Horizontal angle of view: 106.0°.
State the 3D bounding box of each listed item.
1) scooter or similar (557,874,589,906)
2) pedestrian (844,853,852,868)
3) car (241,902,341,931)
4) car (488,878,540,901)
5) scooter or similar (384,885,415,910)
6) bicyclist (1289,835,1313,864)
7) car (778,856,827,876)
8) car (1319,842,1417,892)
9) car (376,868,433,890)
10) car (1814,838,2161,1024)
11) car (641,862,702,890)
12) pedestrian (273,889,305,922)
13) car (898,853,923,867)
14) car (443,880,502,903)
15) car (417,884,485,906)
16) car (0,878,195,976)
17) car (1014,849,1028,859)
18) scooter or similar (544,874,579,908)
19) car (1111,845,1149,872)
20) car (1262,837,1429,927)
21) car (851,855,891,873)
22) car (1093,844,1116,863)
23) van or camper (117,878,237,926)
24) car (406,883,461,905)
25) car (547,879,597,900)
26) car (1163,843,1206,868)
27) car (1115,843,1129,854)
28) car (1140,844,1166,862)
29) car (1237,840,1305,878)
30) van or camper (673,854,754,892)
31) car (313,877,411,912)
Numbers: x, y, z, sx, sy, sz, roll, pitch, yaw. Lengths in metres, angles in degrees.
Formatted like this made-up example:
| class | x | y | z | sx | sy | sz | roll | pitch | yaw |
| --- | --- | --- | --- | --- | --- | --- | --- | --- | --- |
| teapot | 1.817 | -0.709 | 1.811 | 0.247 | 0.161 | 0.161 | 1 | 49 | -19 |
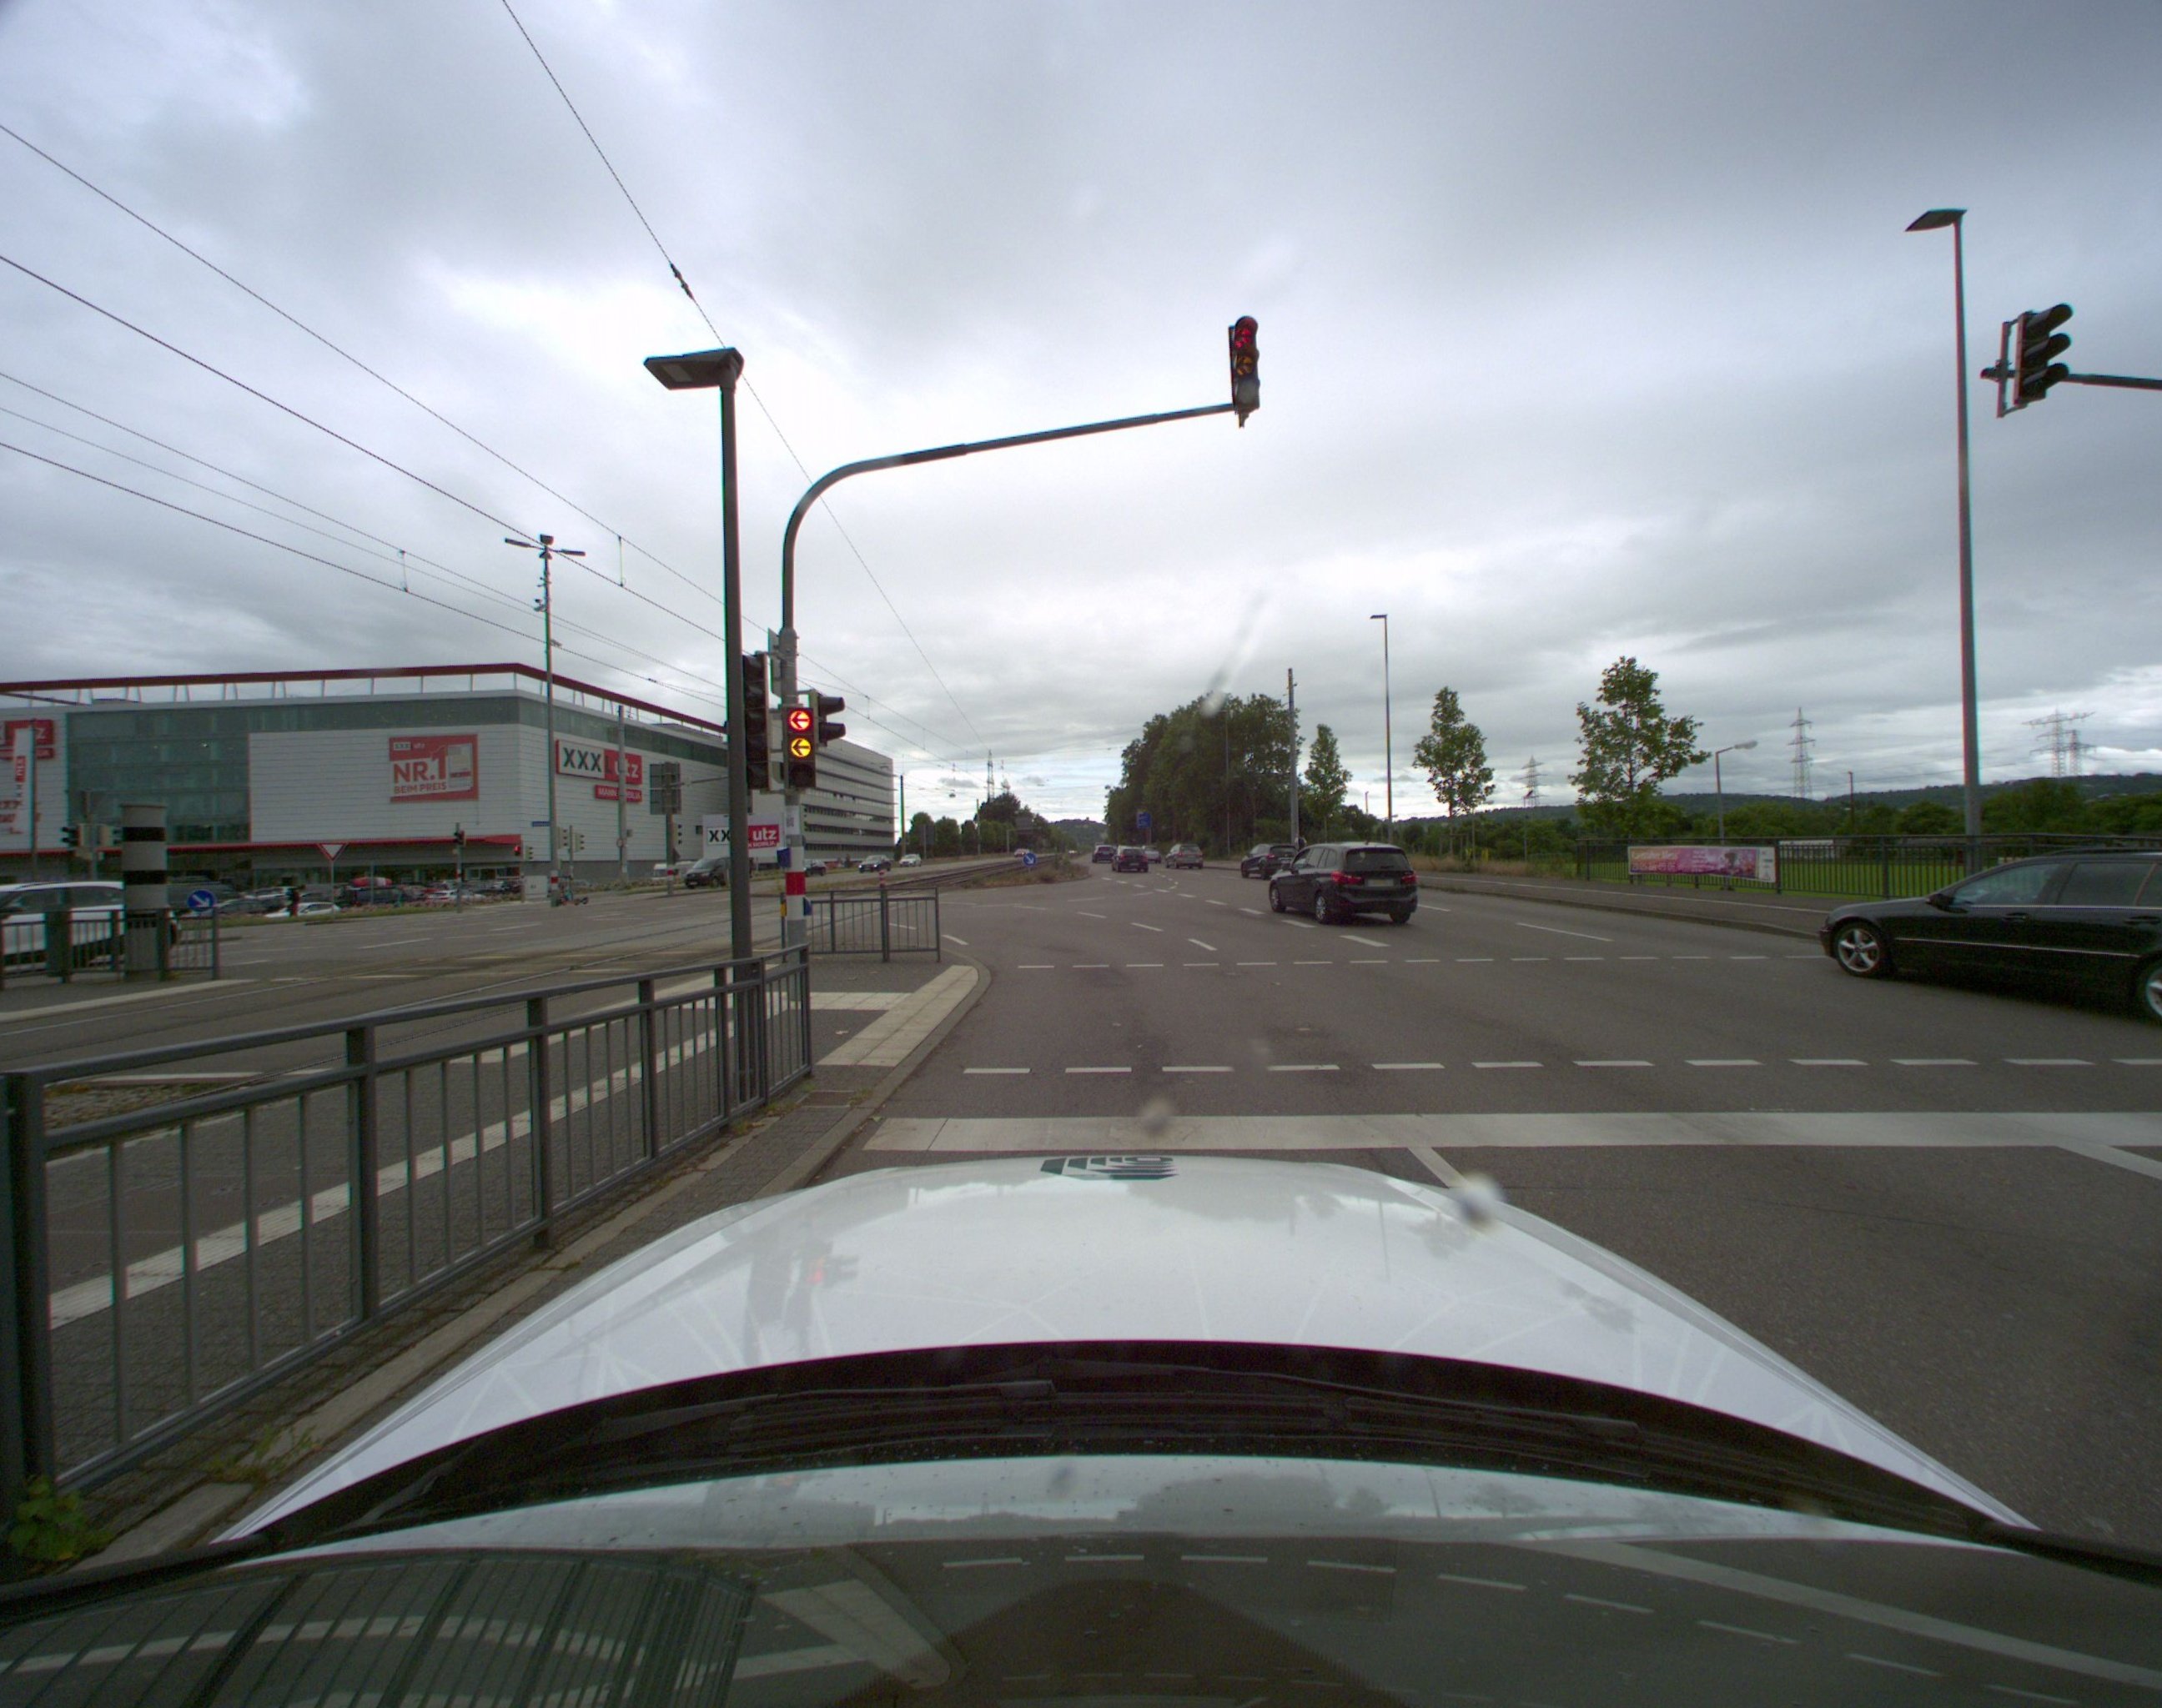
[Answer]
| class | x | y | z | sx | sy | sz | roll | pitch | yaw |
| --- | --- | --- | --- | --- | --- | --- | --- | --- | --- |
| scooter or similar | -20.840 | 1.469 | 33.414 | 0.317 | 1.255 | 1.121 | -4 | 0 | 17 |
| pedestrian | -26.439 | 0.752 | 92.400 | 0.678 | 1.689 | 0.561 | 0 | -1 | 5 |
| car | -47.344 | 3.707 | 48.919 | 1.862 | 1.446 | 4.123 | 0 | -1 | 3 |
| car | -55.604 | 3.490 | 79.952 | 1.934 | 1.929 | 4.007 | -3 | 0 | 6 |
| scooter or similar | -36.433 | 2.327 | 43.547 | 1.170 | 1.233 | 0.342 | -3 | -2 | -35 |
| bicyclist | 11.338 | -0.247 | 42.020 | 0.816 | 1.478 | 0.997 | -3 | 2 | -9 |
| car | -21.850 | 0.919 | 64.076 | 1.953 | 1.464 | 4.328 | -1 | 0 | 5 |
| car | 9.223 | 0.367 | 26.460 | 1.725 | 1.509 | 3.627 | 0 | 1 | -4 |
| car | -65.968 | 2.432 | 79.478 | 1.984 | 2.013 | 4.006 | 0 | 0 | 5 |
| car | 9.446 | 0.598 | 7.425 | 1.729 | 1.479 | 4.320 | 0 | 0 | 1 |
| car | -45.258 | 2.402 | 90.212 | 2.746 | 2.989 | 6.960 | 0 | -1 | 5 |
| pedestrian | -40.358 | 2.608 | 41.497 | 0.712 | 1.597 | 0.784 | -5 | 0 | 0 |
| car | -19.653 | 0.705 | 94.026 | 1.720 | 1.539 | 4.050 | 0 | 0 | 4 |
| car | -55.814 | 3.436 | 74.762 | 1.849 | 1.780 | 4.231 | -2 | 1 | 6 |
| car | -49.317 | 3.194 | 63.831 | 1.731 | 1.476 | 4.218 | -3 | 0 | 6 |
| car | -19.302 | 1.351 | 14.706 | 1.783 | 1.585 | 4.149 | -4 | 0 | 5 |
| car | -10.474 | 0.068 | 142.438 | 1.985 | 1.728 | 4.003 | 0 | 0 | 3 |
| scooter or similar | -20.402 | 1.454 | 32.009 | 0.459 | 1.255 | 1.023 | -4 | 0 | 17 |
| car | 2.707 | 0.243 | 45.551 | 1.743 | 1.431 | 3.370 | 0 | 1 | -4 |
| car | 5.407 | 0.508 | 17.310 | 1.829 | 1.636 | 4.309 | -1 | 0 | -5 |
| car | -17.957 | 0.801 | 69.901 | 1.820 | 1.464 | 4.218 | 0 | 0 | 9 |
| car | 1.951 | -0.013 | 67.833 | 1.809 | 1.480 | 3.671 | 0 | -1 | 0 |
| van or camper | -64.921 | 3.386 | 58.652 | 1.971 | 2.983 | 5.416 | -3 | 0 | 12 |
| car | -63.447 | 3.923 | 79.844 | 1.805 | 1.818 | 4.008 | -3 | 0 | 6 |
| car | -46.209 | 3.190 | 73.992 | 1.873 | 1.665 | 4.001 | -2 | 0 | 1 |
| car | 6.572 | 0.094 | 52.074 | 1.854 | 1.561 | 4.309 | 1 | 0 | -5 |
| car | 5.807 | -0.808 | 115.145 | 1.809 | 1.480 | 3.671 | 0 | -1 | 0 |
| car | 6.026 | -0.044 | 68.559 | 1.809 | 1.480 | 3.671 | 0 | -1 | 0 |
| car | 8.456 | 0.219 | 36.610 | 1.853 | 1.561 | 4.312 | 1 | 0 | -3 |
| van or camper | -23.576 | 1.170 | 52.482 | 2.101 | 2.013 | 4.772 | -5 | 1 | 14 |
| car | -52.094 | 2.907 | 59.133 | 2.103 | 2.165 | 5.065 | -3 | 0 | 9 |
